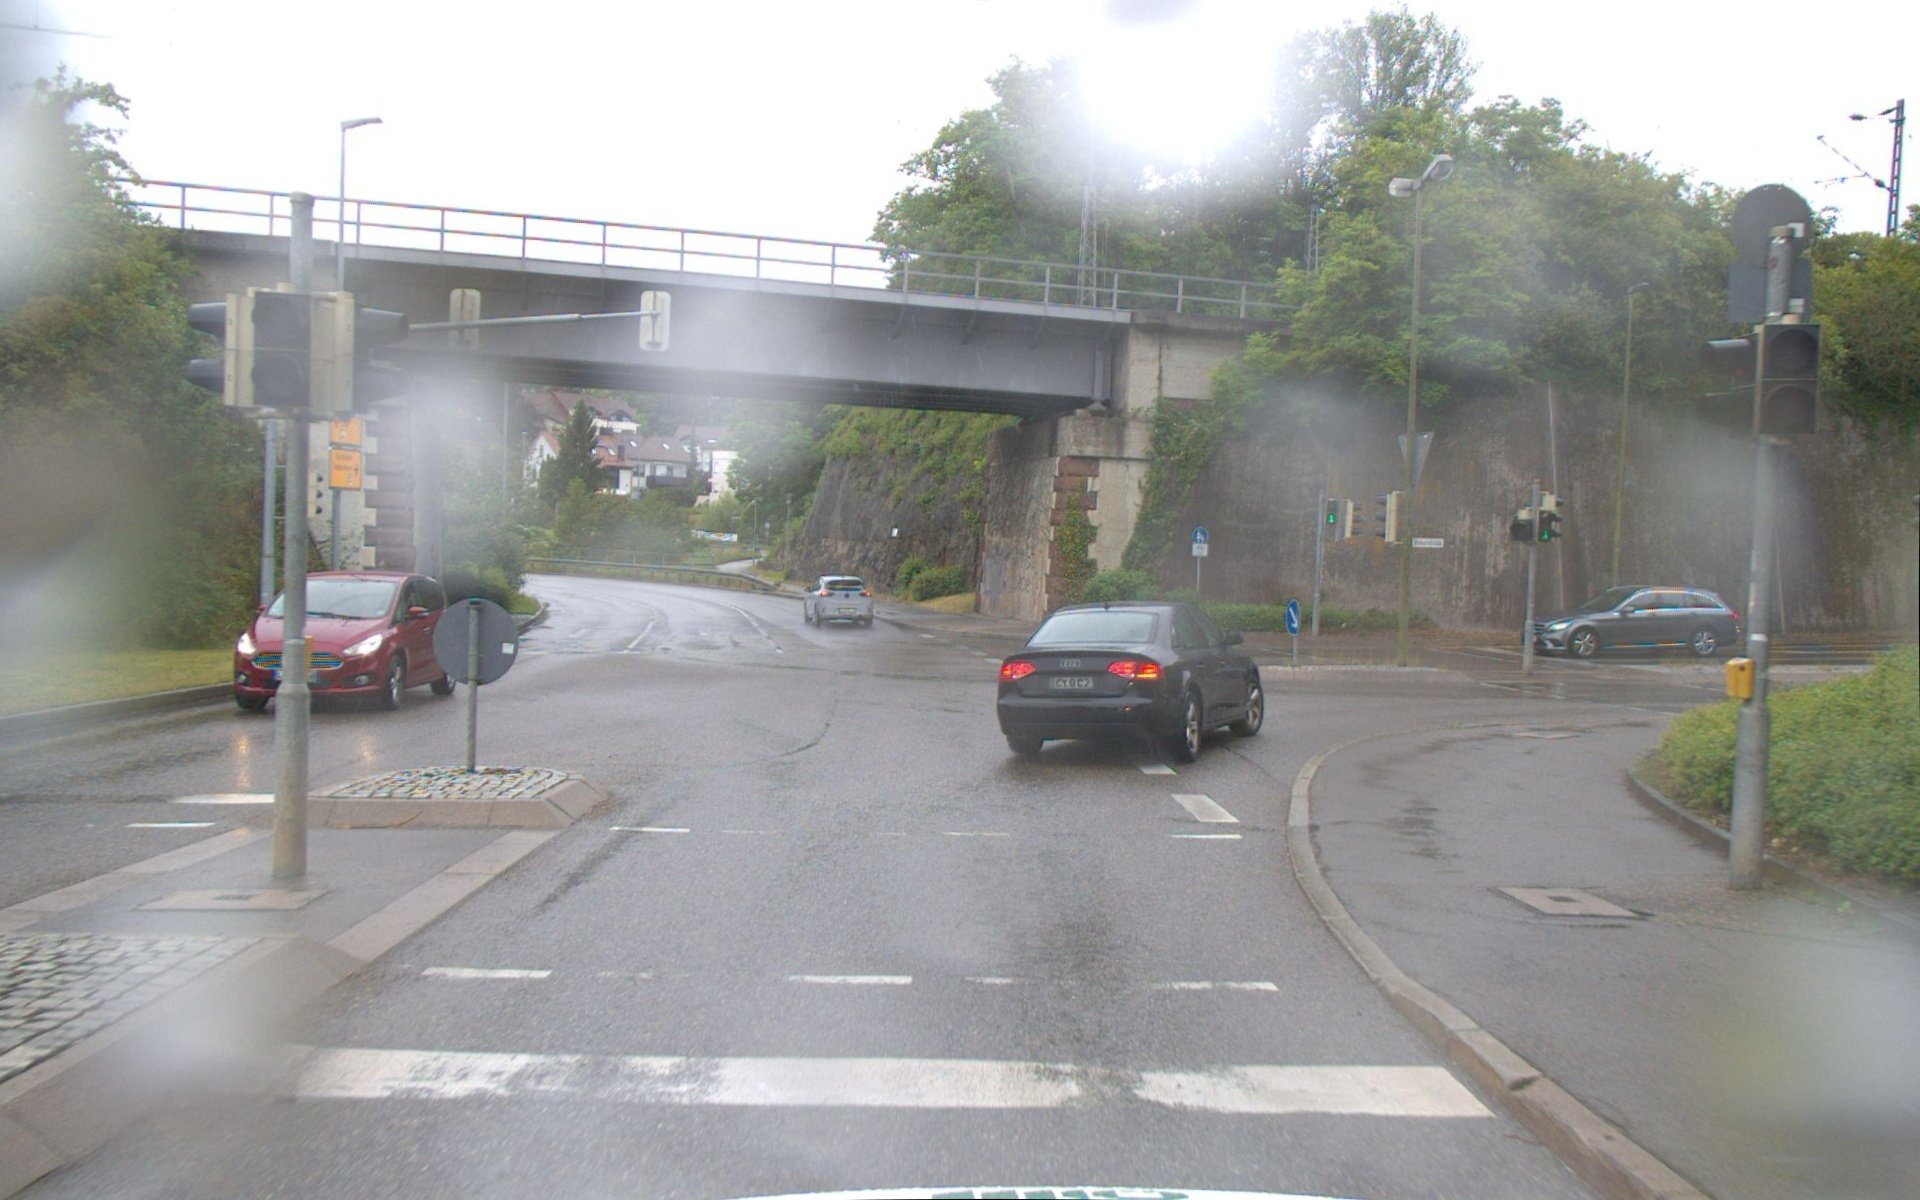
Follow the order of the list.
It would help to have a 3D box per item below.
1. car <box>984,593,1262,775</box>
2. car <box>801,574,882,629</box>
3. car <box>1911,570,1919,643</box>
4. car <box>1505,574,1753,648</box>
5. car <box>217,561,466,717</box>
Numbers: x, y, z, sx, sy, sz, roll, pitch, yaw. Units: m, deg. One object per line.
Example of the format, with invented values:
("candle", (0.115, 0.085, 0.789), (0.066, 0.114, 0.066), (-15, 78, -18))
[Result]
("car", (1.733, 0.699, 16.126), (1.853, 1.518, 4.209), (0, 0, 18))
("car", (-3.603, 0.041, 49.838), (1.958, 1.590, 3.989), (0, 0, -11))
("car", (24.186, 0.176, 37.868), (3.964, 1.686, 1.816), (0, 0, -10))
("car", (14.412, 0.236, 35.748), (4.627, 1.529, 1.996), (0, 0, -10))
("car", (-7.626, 0.429, 20.882), (1.861, 1.744, 4.675), (0, 0, -7))
